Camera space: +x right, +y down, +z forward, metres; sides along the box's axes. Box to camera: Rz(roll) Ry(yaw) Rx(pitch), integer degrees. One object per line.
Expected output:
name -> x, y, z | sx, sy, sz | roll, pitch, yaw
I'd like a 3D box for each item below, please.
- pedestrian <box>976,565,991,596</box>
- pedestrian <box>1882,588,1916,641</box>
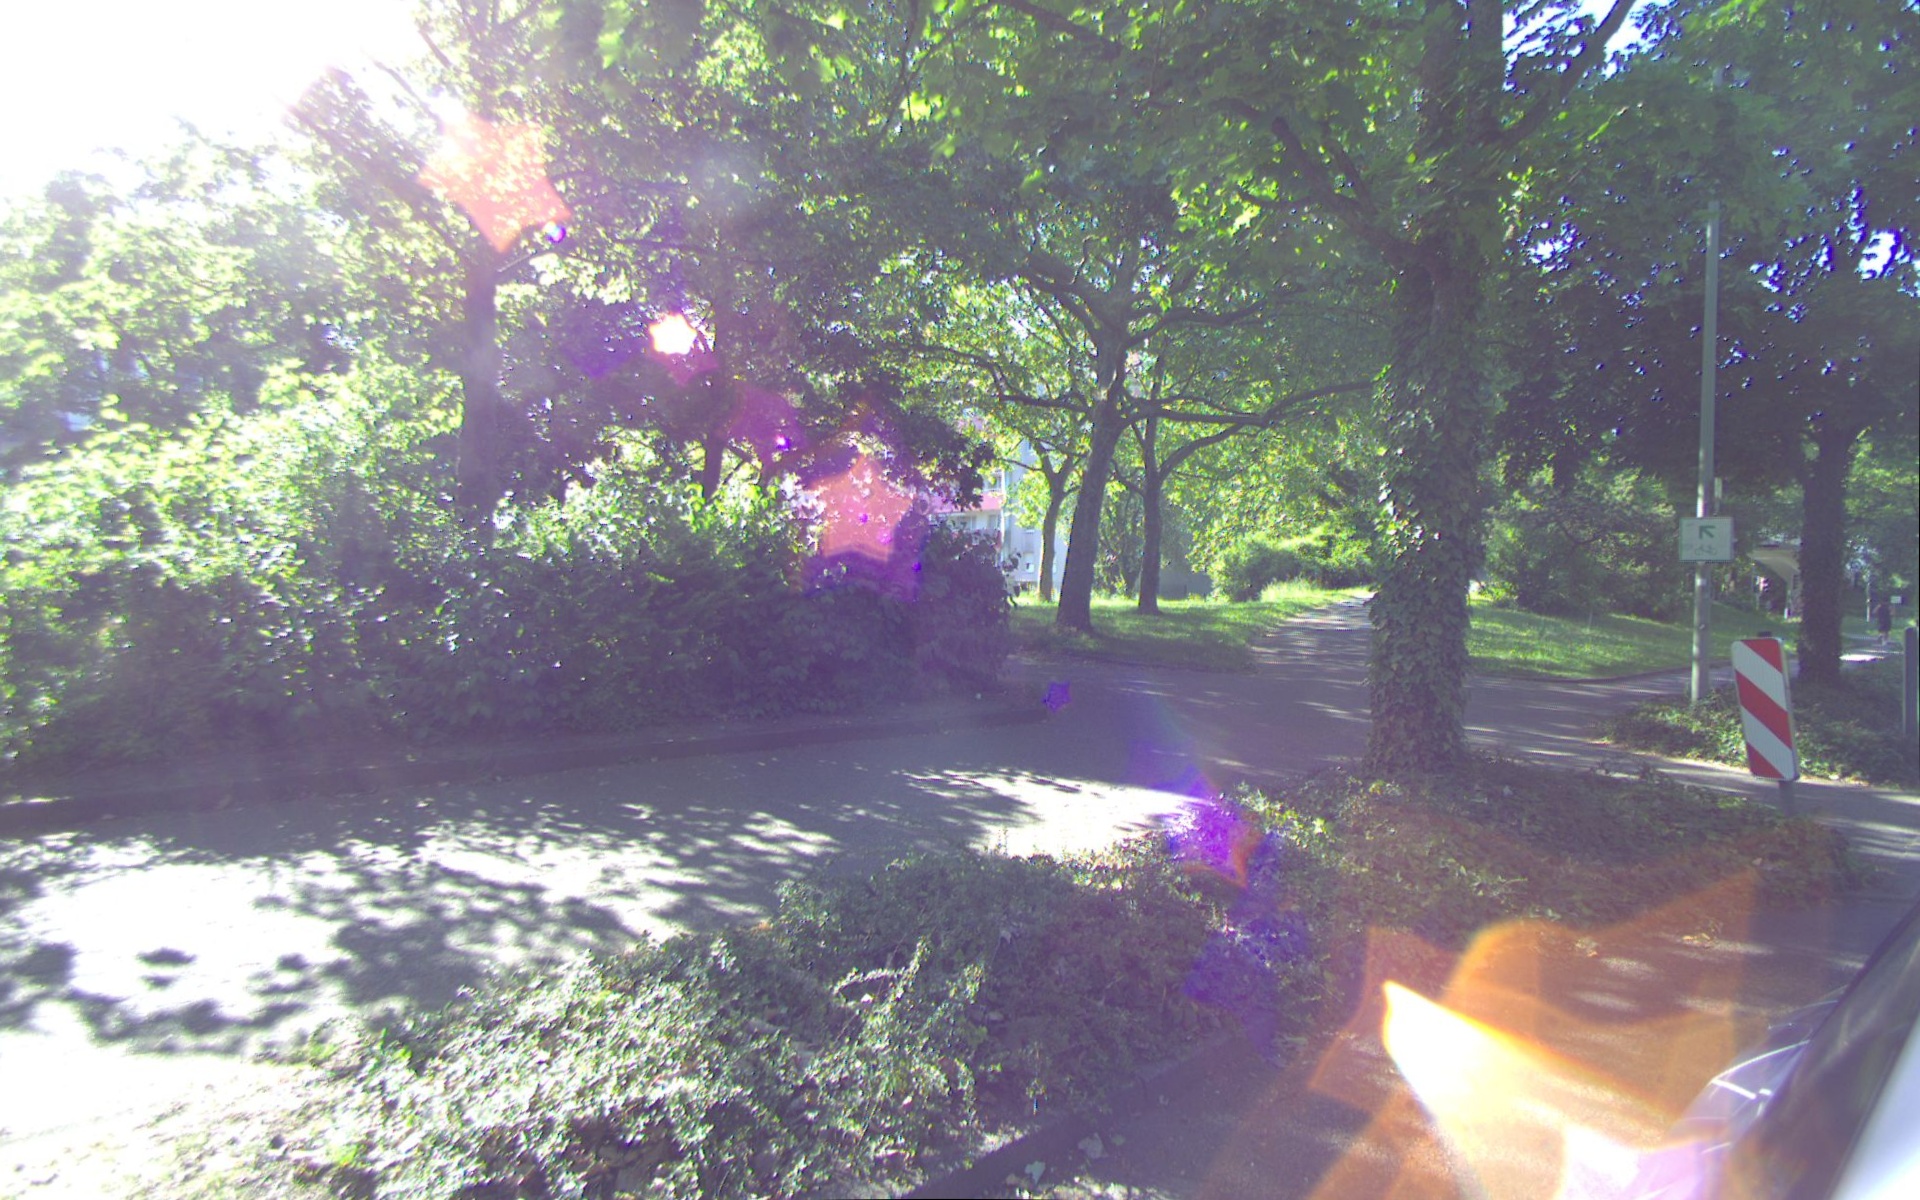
pedestrian -> 1.214, -0.994, 52.317 | 0.618, 1.609, 0.676 | -1, -1, 19
pedestrian -> 33.850, 0.507, 36.480 | 0.659, 1.855, 0.792 | 1, 0, -40
